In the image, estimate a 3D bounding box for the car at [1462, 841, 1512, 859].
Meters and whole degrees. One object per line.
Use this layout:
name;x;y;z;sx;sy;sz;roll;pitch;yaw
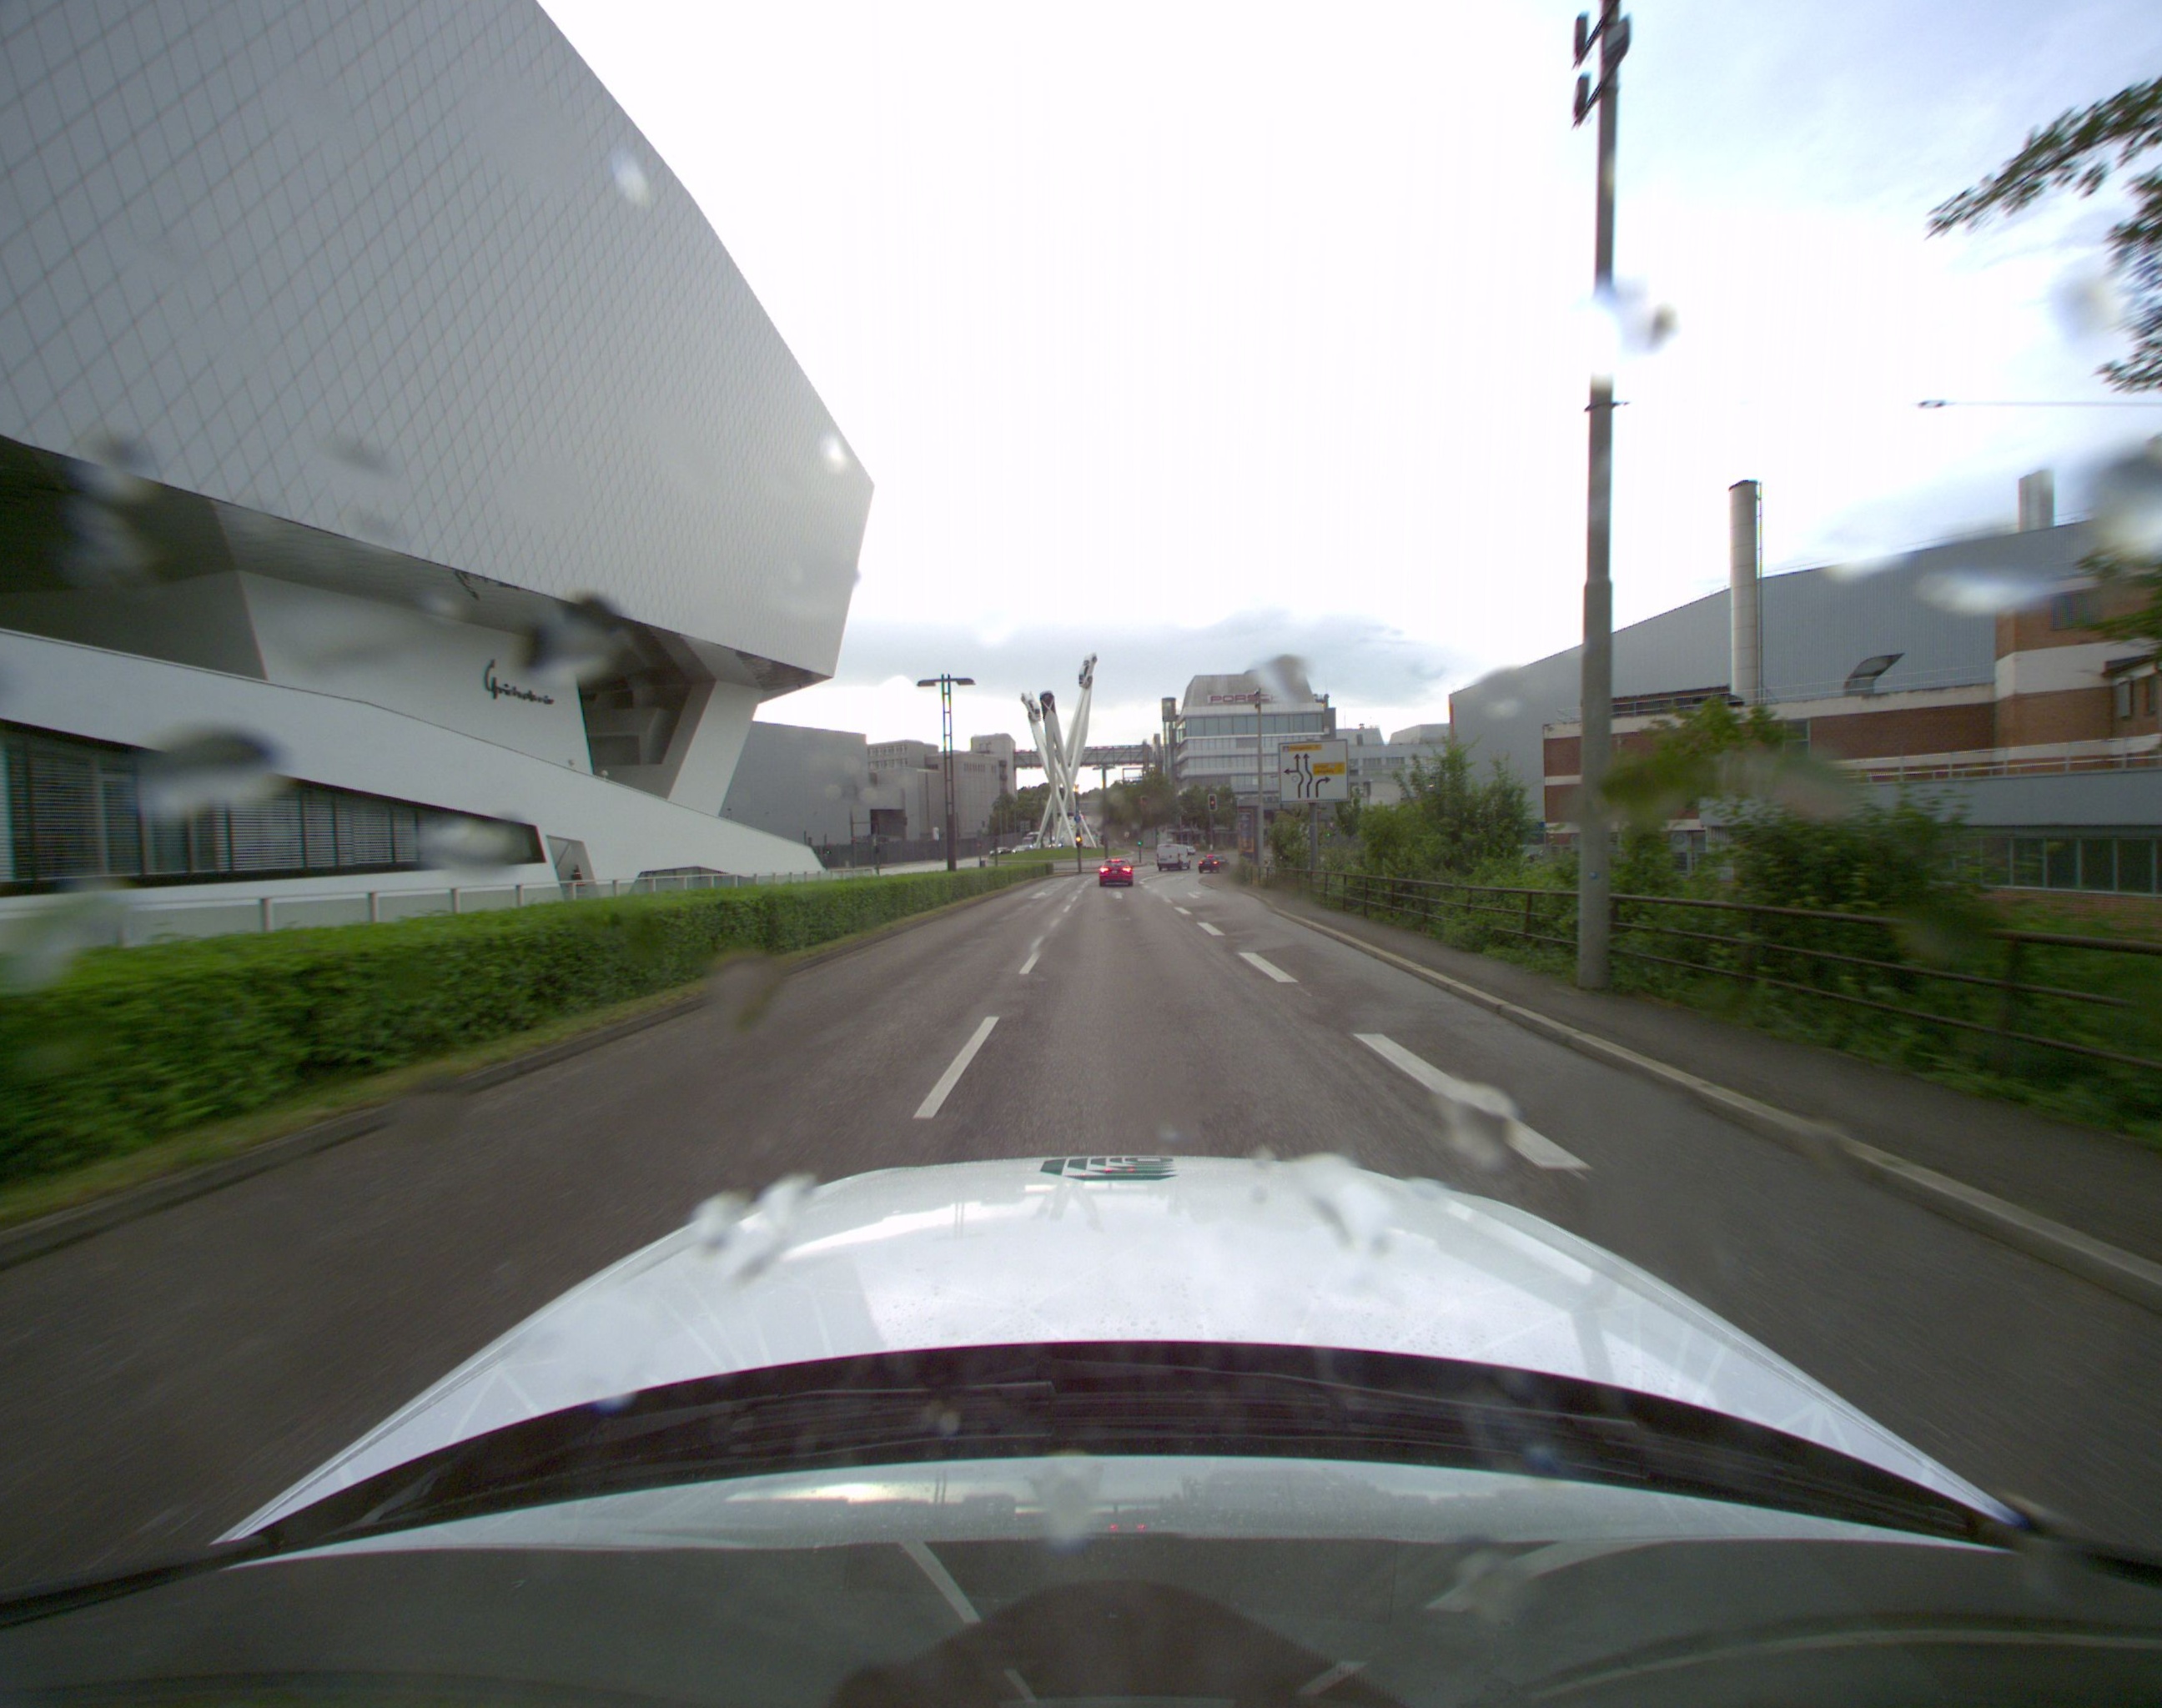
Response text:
car;39.200;-0.393;78.639;3.932;1.601;1.923;1;2;43

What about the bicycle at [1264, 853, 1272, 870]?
bicycle;13.434;0.528;58.410;0.382;1.162;2.009;-2;-1;16

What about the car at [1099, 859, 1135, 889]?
car;1.916;1.048;43.292;1.765;1.464;3.735;-2;0;3

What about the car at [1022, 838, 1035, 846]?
car;-9.698;-2.167;150.672;1.825;1.472;4.518;-2;0;4

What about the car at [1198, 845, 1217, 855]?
car;17.577;-0.542;113.098;1.665;1.301;3.878;-2;0;-5

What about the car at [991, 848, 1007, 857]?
car;-13.173;-0.270;130.526;1.825;1.472;4.518;-2;0;4

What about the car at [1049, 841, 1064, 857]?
car;-3.975;-0.845;133.620;1.985;2.447;5.432;-2;1;3

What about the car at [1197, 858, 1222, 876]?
car;10.182;0.993;64.392;1.598;1.291;3.580;-2;0;15

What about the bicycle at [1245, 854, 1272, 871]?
bicycle;12.482;0.592;57.248;1.759;1.140;0.680;-2;-1;8

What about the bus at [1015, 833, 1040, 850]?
bus;-10.690;-2.572;164.745;2.654;3.200;12.696;-1;1;7

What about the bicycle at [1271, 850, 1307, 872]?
bicycle;12.052;0.407;47.241;1.929;1.178;0.596;-2;0;-14

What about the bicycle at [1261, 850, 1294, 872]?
bicycle;11.792;0.428;48.867;1.937;1.224;0.594;-2;0;-27

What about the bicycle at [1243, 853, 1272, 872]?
bicycle;11.817;0.564;54.573;1.792;1.161;0.593;-3;-1;4

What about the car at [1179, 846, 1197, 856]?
car;14.513;-0.353;110.591;1.555;1.288;3.406;-2;0;-6

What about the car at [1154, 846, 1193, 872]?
car;8.062;0.417;70.720;2.214;2.108;4.979;-2;-1;20
